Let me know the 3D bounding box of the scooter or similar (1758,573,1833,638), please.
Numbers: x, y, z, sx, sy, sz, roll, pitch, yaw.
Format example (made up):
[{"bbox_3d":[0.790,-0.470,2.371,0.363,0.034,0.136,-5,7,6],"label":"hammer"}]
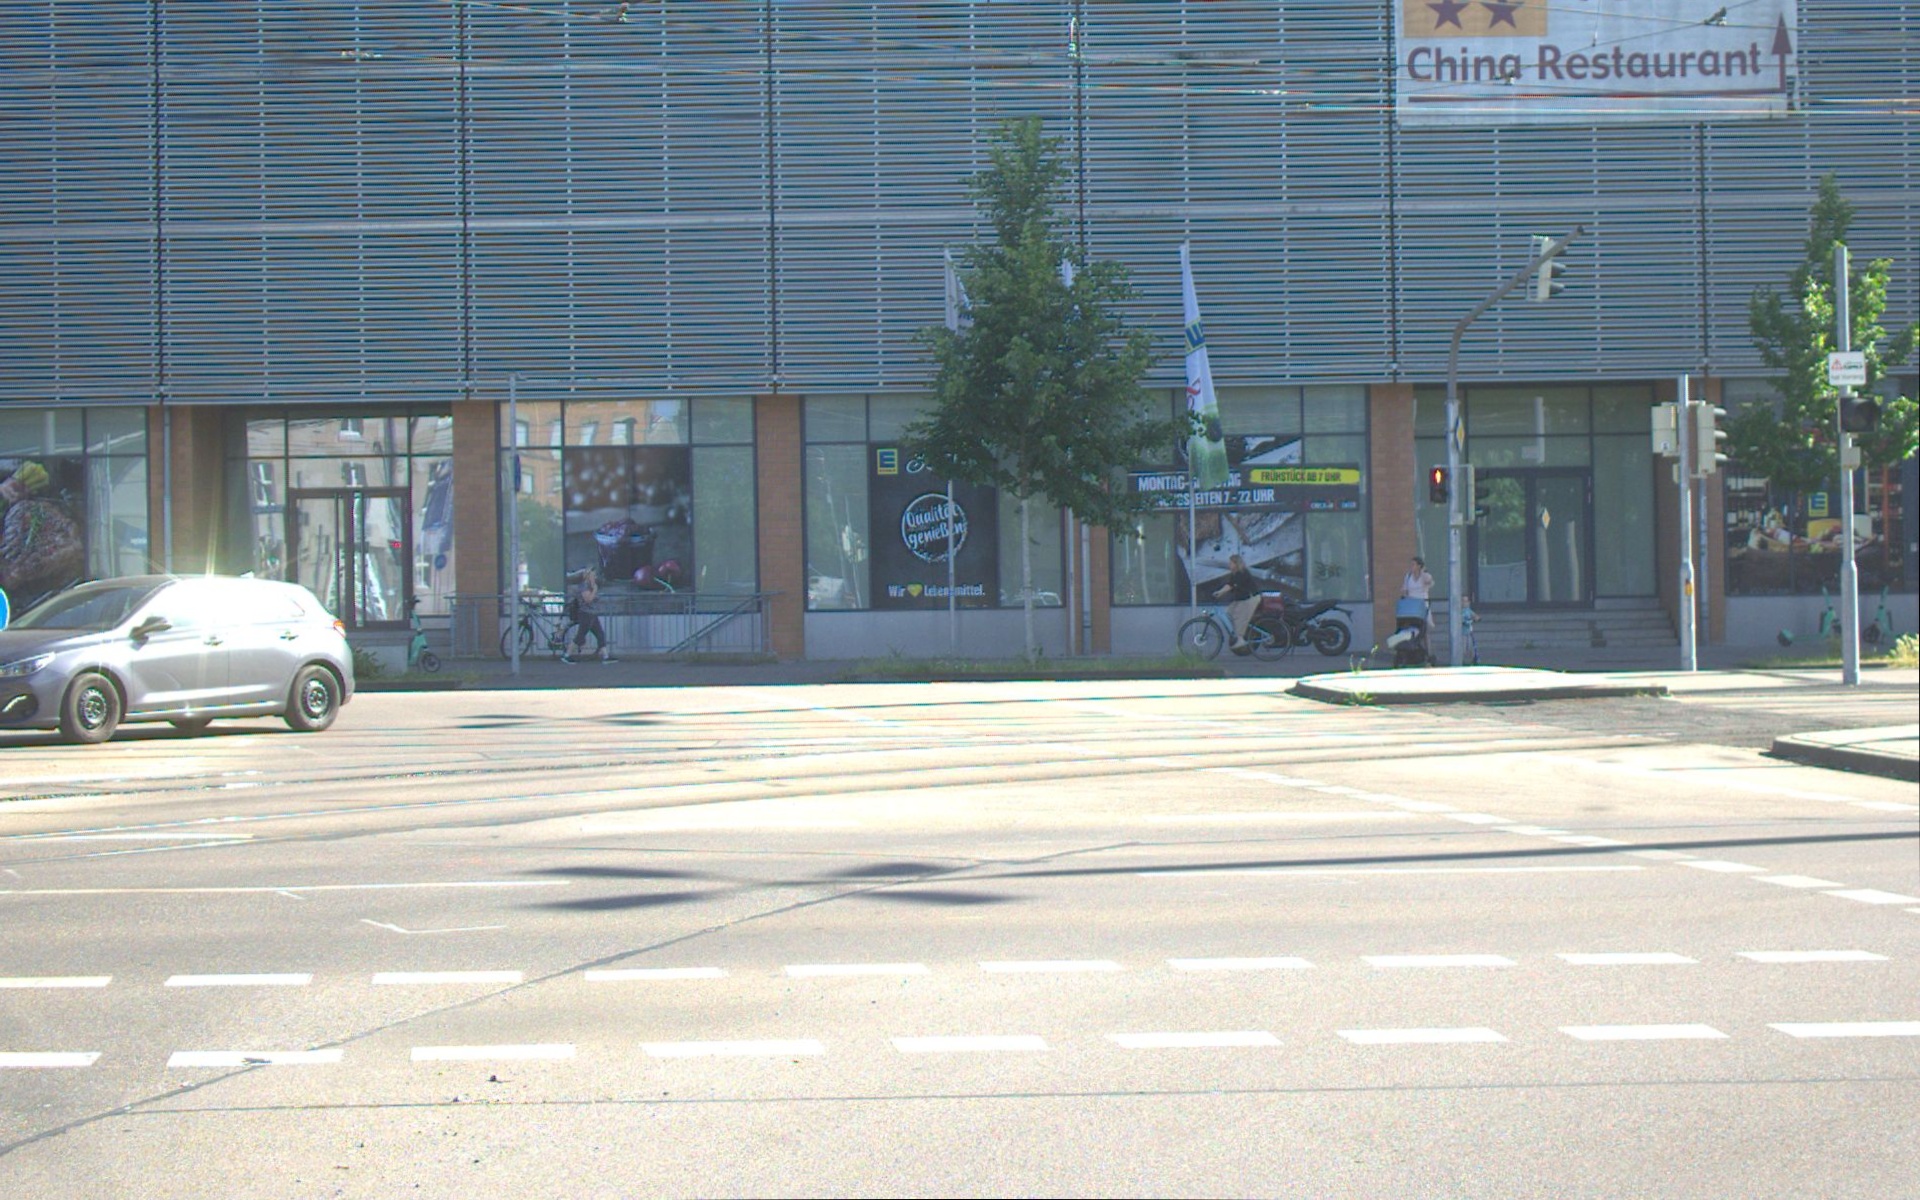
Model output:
[{"bbox_3d":[14.258,0.093,58.662,1.202,1.099,0.277,1,0,2],"label":"scooter or similar"}]

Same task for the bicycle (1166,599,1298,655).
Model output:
[{"bbox_3d":[4.338,0.431,54.908,2.041,0.864,0.682,-1,0,-1],"label":"bicycle"}]

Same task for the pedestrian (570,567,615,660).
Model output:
[{"bbox_3d":[-6.033,0.225,56.495,0.647,1.514,0.491,-1,0,4],"label":"pedestrian"}]

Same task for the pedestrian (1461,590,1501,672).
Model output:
[{"bbox_3d":[7.821,0.462,51.613,0.447,1.225,0.397,-1,0,-22],"label":"pedestrian"}]

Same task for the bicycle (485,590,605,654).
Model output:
[{"bbox_3d":[-6.935,0.361,57.497,1.944,1.035,0.573,-1,0,-4],"label":"bicycle"}]

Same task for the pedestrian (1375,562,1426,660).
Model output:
[{"bbox_3d":[6.732,0.170,52.540,0.739,1.482,0.490,-1,0,10],"label":"pedestrian"}]

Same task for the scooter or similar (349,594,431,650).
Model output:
[{"bbox_3d":[-8.849,0.338,53.376,1.223,0.848,0.301,-1,0,-3],"label":"scooter or similar"}]

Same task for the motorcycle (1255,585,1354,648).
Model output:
[{"bbox_3d":[5.774,0.281,57.594,1.614,1.035,0.402,-1,0,0],"label":"motorcycle"}]

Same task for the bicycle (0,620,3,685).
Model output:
[{"bbox_3d":[-15.469,0.808,51.679,2.015,0.982,0.560,-1,0,-33],"label":"bicycle"}]

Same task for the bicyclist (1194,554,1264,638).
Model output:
[{"bbox_3d":[4.294,-0.067,54.910,1.036,1.314,0.682,-1,0,-1],"label":"bicyclist"}]

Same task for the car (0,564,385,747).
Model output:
[{"bbox_3d":[-7.374,0.444,30.604,1.997,1.494,4.301,0,0,35],"label":"car"}]

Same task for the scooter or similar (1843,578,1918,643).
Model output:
[{"bbox_3d":[15.783,0.185,58.941,1.202,1.099,0.277,1,0,2],"label":"scooter or similar"}]
